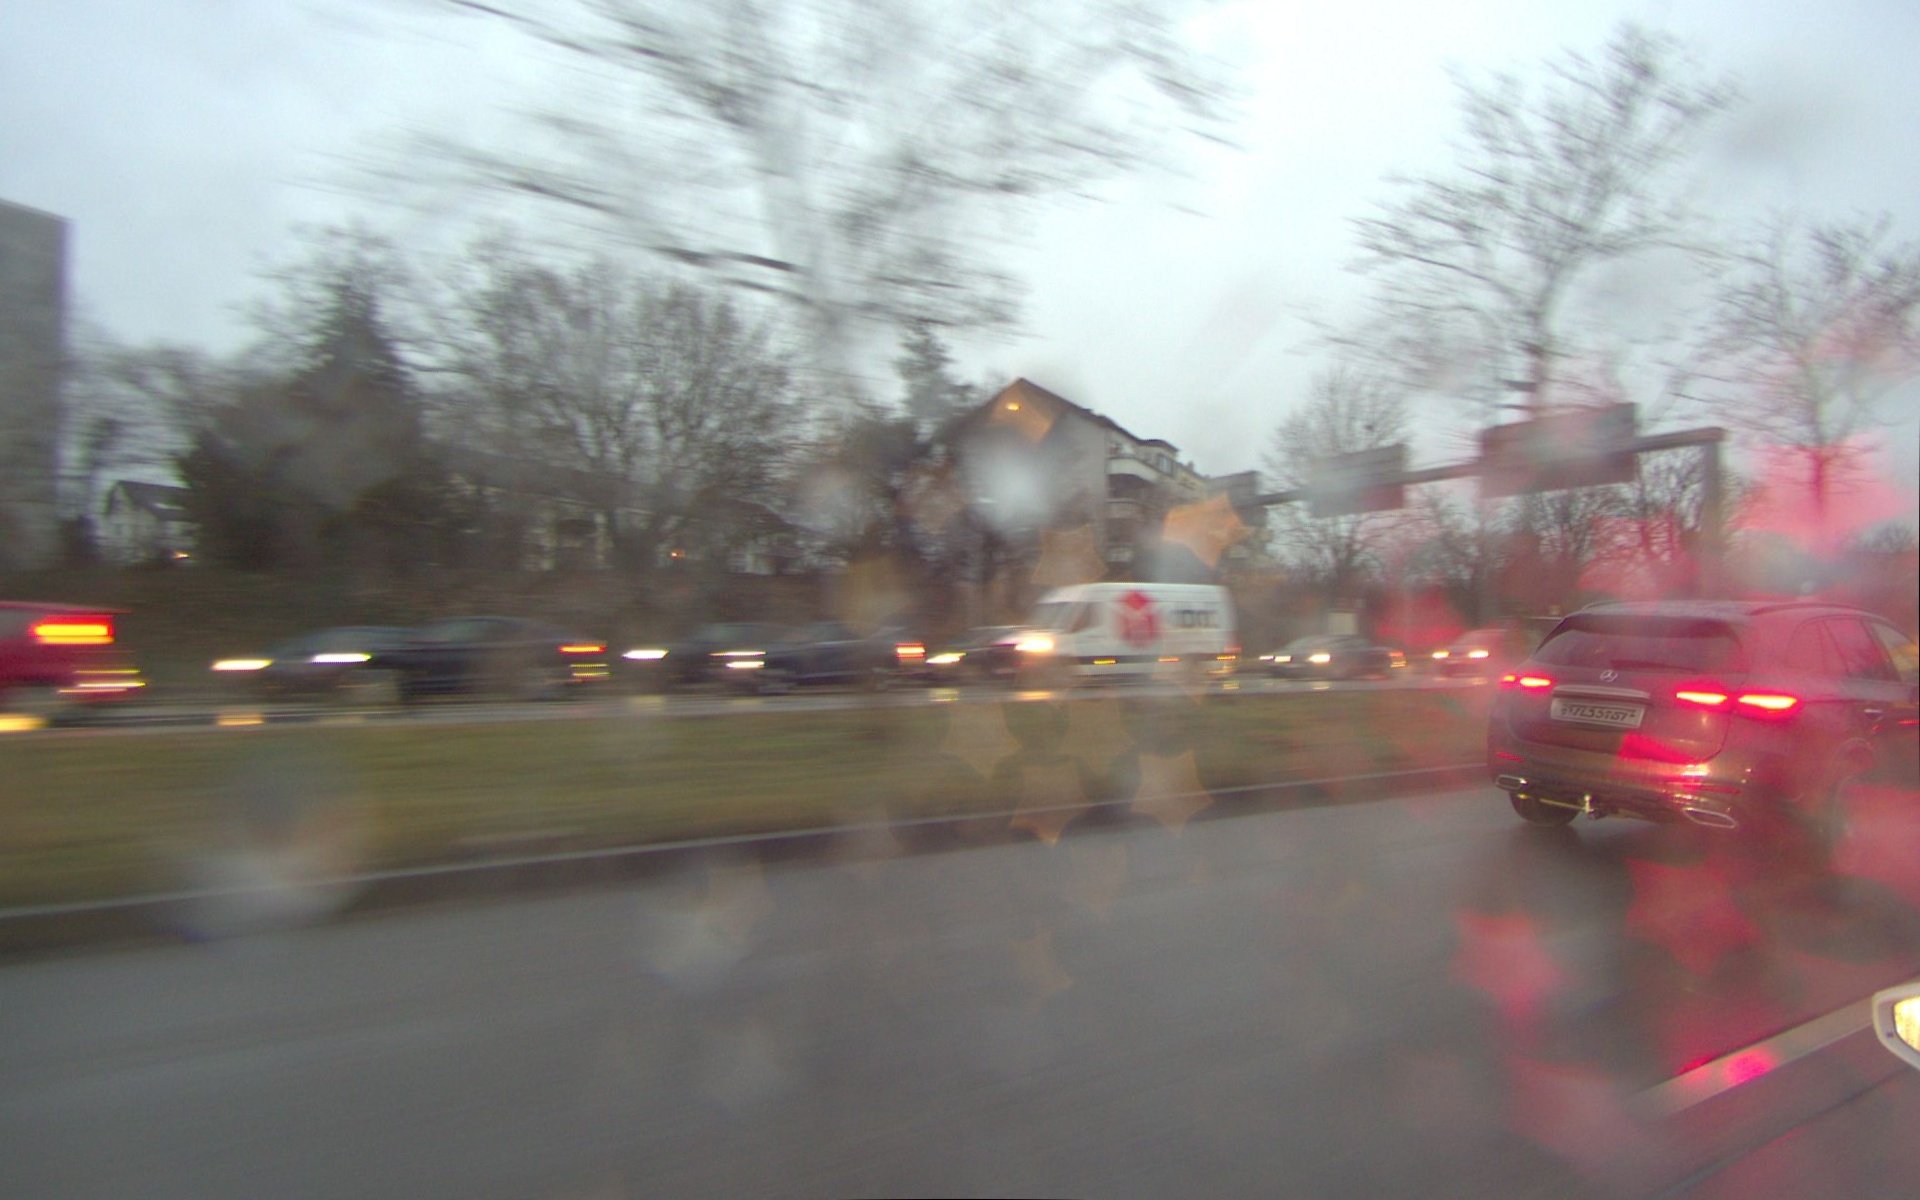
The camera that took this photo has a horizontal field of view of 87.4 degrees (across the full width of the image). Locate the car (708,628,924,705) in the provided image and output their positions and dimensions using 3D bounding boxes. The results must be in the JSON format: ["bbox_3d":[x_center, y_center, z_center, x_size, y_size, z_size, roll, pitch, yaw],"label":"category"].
[{"bbox_3d":[-3.128,1.403,22.090,4.392,1.557,1.762,1,-2,-29],"label":"car"}]

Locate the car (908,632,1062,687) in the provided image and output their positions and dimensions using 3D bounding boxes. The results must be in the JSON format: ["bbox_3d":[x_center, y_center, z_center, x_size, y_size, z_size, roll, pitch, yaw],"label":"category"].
[{"bbox_3d":[0.703,1.627,27.822,3.954,1.416,1.747,2,-2,-31],"label":"car"}]

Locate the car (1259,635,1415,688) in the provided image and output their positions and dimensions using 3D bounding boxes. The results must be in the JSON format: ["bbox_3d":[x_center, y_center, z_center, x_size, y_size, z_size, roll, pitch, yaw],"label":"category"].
[{"bbox_3d":[11.384,1.847,30.280,4.396,1.465,1.898,2,-1,-26],"label":"car"}]

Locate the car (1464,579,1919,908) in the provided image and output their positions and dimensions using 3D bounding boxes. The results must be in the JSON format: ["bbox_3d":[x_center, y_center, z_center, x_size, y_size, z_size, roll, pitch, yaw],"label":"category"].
[{"bbox_3d":[5.697,0.808,7.053,4.416,1.669,1.813,2,-2,-31],"label":"car"}]

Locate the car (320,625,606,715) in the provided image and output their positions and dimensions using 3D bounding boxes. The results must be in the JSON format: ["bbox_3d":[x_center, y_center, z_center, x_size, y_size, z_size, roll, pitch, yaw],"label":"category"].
[{"bbox_3d":[-9.201,1.233,18.808,4.596,1.509,1.761,1,-2,-31],"label":"car"}]

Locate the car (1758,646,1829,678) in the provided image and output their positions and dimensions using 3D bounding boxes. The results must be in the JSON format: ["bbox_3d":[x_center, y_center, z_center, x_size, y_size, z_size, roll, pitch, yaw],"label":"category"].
[{"bbox_3d":[52.514,3.895,63.239,4.372,1.876,1.985,2,-1,-29],"label":"car"}]

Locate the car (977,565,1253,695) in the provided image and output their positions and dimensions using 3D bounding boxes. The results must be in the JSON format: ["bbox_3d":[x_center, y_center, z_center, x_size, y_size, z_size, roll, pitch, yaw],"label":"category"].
[{"bbox_3d":[4.183,0.838,26.449,7.257,3.044,2.282,2,-1,-29],"label":"car"}]

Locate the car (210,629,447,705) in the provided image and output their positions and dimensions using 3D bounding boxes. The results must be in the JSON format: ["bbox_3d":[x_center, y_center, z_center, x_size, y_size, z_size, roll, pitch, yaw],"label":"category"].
[{"bbox_3d":[-12.863,1.334,20.723,3.954,1.416,1.747,2,-2,-31],"label":"car"}]

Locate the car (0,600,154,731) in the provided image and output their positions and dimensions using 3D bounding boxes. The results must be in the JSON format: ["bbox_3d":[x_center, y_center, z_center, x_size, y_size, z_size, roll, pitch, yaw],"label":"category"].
[{"bbox_3d":[-12.897,0.810,12.677,3.987,1.607,1.761,1,-2,-31],"label":"car"}]

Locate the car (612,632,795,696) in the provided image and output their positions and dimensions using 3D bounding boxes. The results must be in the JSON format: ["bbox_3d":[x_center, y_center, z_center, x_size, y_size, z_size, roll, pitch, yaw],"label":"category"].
[{"bbox_3d":[-6.154,1.495,24.182,3.954,1.416,1.747,2,-2,-31],"label":"car"}]

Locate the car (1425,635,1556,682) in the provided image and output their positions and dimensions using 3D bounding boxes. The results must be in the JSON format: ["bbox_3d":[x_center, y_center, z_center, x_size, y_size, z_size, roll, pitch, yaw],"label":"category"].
[{"bbox_3d":[17.984,1.965,34.024,4.390,1.465,1.895,2,-1,-30],"label":"car"}]

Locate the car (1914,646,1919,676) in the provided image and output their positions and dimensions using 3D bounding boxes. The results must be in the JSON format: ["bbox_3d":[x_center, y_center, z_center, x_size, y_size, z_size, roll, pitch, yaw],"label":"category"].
[{"bbox_3d":[55.037,3.418,56.024,3.534,1.648,1.776,2,-1,-31],"label":"car"}]

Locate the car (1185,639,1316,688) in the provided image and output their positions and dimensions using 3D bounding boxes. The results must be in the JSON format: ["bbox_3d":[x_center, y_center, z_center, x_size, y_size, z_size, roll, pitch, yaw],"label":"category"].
[{"bbox_3d":[9.584,2.054,33.060,4.041,1.465,1.895,2,-1,-30],"label":"car"}]
